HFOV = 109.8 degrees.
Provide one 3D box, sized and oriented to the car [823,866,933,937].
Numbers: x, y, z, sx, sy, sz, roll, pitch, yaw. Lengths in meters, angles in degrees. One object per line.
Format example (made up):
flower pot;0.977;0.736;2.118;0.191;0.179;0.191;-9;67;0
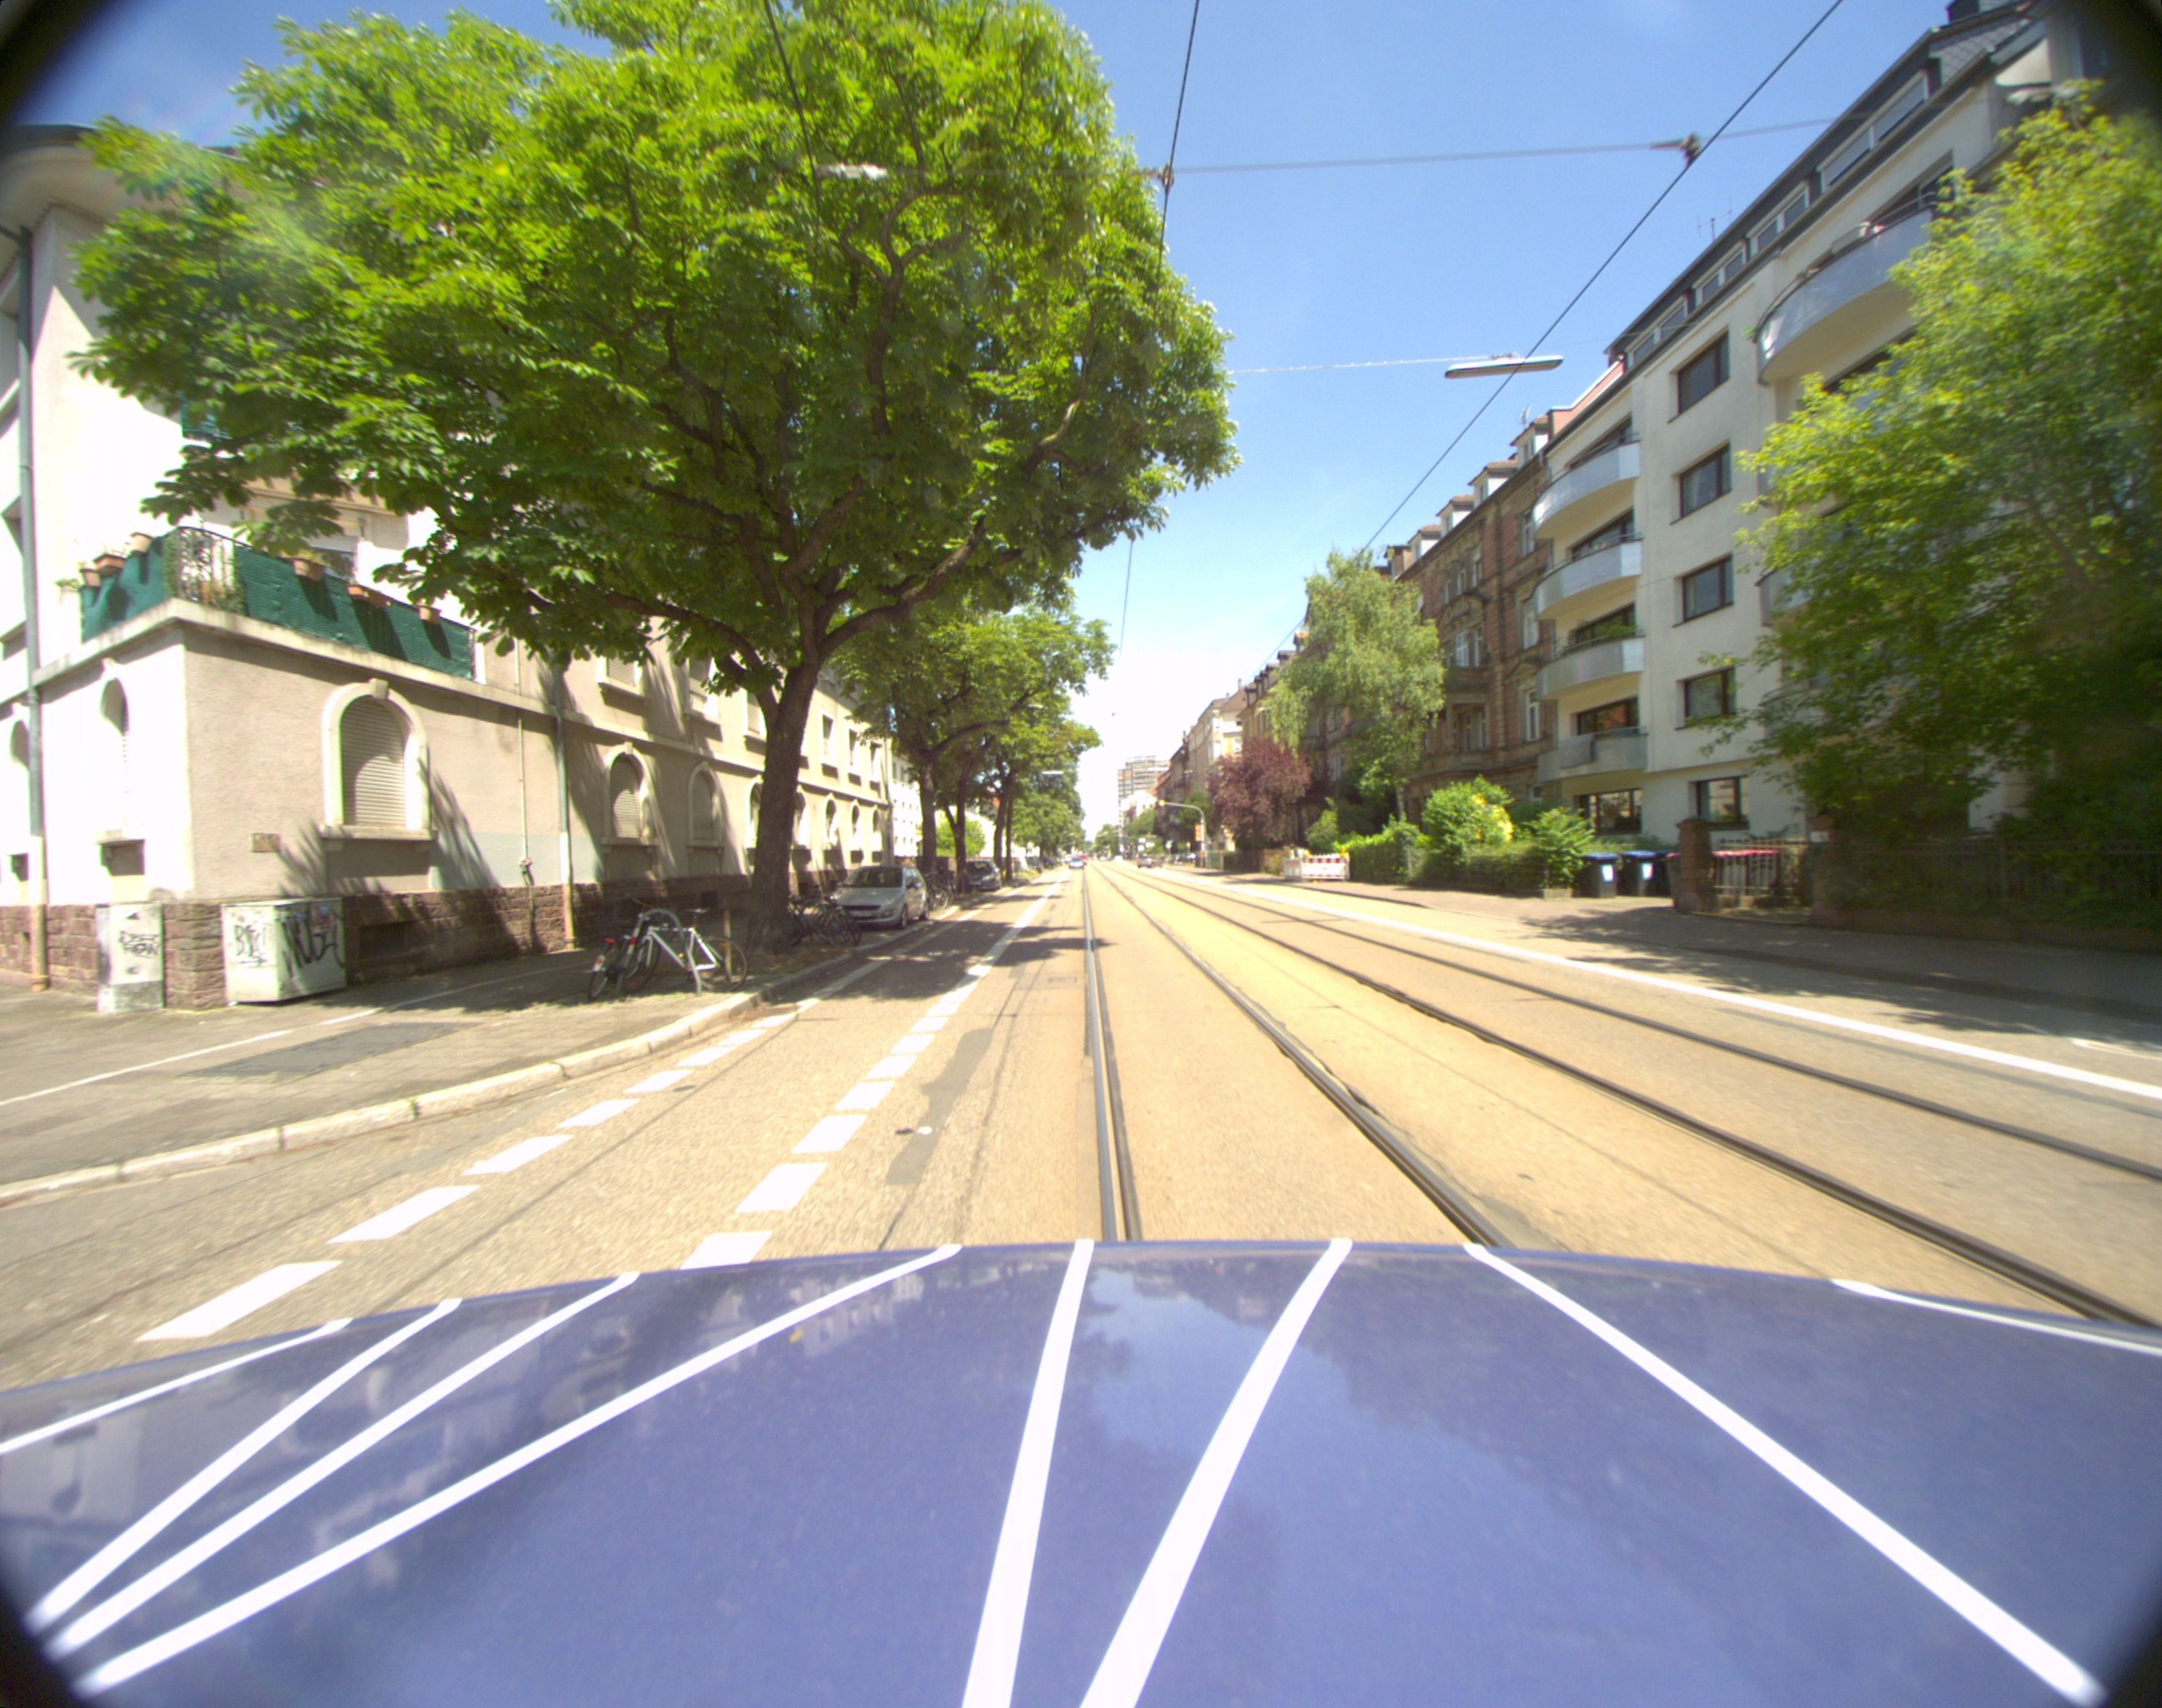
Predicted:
car;-4.705;1.054;18.099;1.596;1.444;3.632;-1;0;0

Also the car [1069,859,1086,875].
car;-0.396;1.511;88.164;1.893;1.561;4.036;-3;1;0

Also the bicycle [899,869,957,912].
bicycle;-4.588;1.092;22.778;1.623;1.193;0.305;-2;2;2

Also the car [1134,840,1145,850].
car;9.025;-1.420;117.251;1.493;1.372;3.630;-3;1;0

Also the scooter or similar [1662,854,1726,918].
scooter or similar;11.556;0.586;14.349;0.616;1.151;0.695;-2;1;-3

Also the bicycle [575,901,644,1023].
bicycle;-5.504;1.207;8.933;0.284;1.193;1.625;-3;1;-19

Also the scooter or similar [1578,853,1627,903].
scooter or similar;12.325;0.557;17.977;0.617;1.151;0.694;-2;1;-10

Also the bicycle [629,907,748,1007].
bicycle;-4.450;1.163;8.625;1.169;1.057;0.280;-2;2;3

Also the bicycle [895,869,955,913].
bicycle;-4.599;1.093;22.424;1.623;1.193;0.305;-2;2;2

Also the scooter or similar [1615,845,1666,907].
scooter or similar;13.157;0.508;17.876;0.617;1.391;0.694;-2;1;-10

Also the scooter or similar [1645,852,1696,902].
scooter or similar;13.876;0.530;17.894;0.617;1.151;0.694;-1;1;-10

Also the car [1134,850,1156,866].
car;6.911;0.406;82.519;1.998;1.467;3.999;-3;1;0

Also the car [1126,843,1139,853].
car;9.211;-1.117;136.404;1.998;1.717;3.871;-3;1;0

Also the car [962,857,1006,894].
car;-4.598;0.975;36.372;1.539;1.535;3.999;-2;1;0

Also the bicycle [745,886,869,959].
bicycle;-4.793;1.202;13.307;2.037;1.193;0.445;-2;2;10

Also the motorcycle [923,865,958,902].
motorcycle;-5.134;1.046;27.891;0.623;1.190;2.219;-2;1;5

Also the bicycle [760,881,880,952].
bicycle;-4.744;1.128;13.813;2.037;1.193;0.445;-2;2;10
